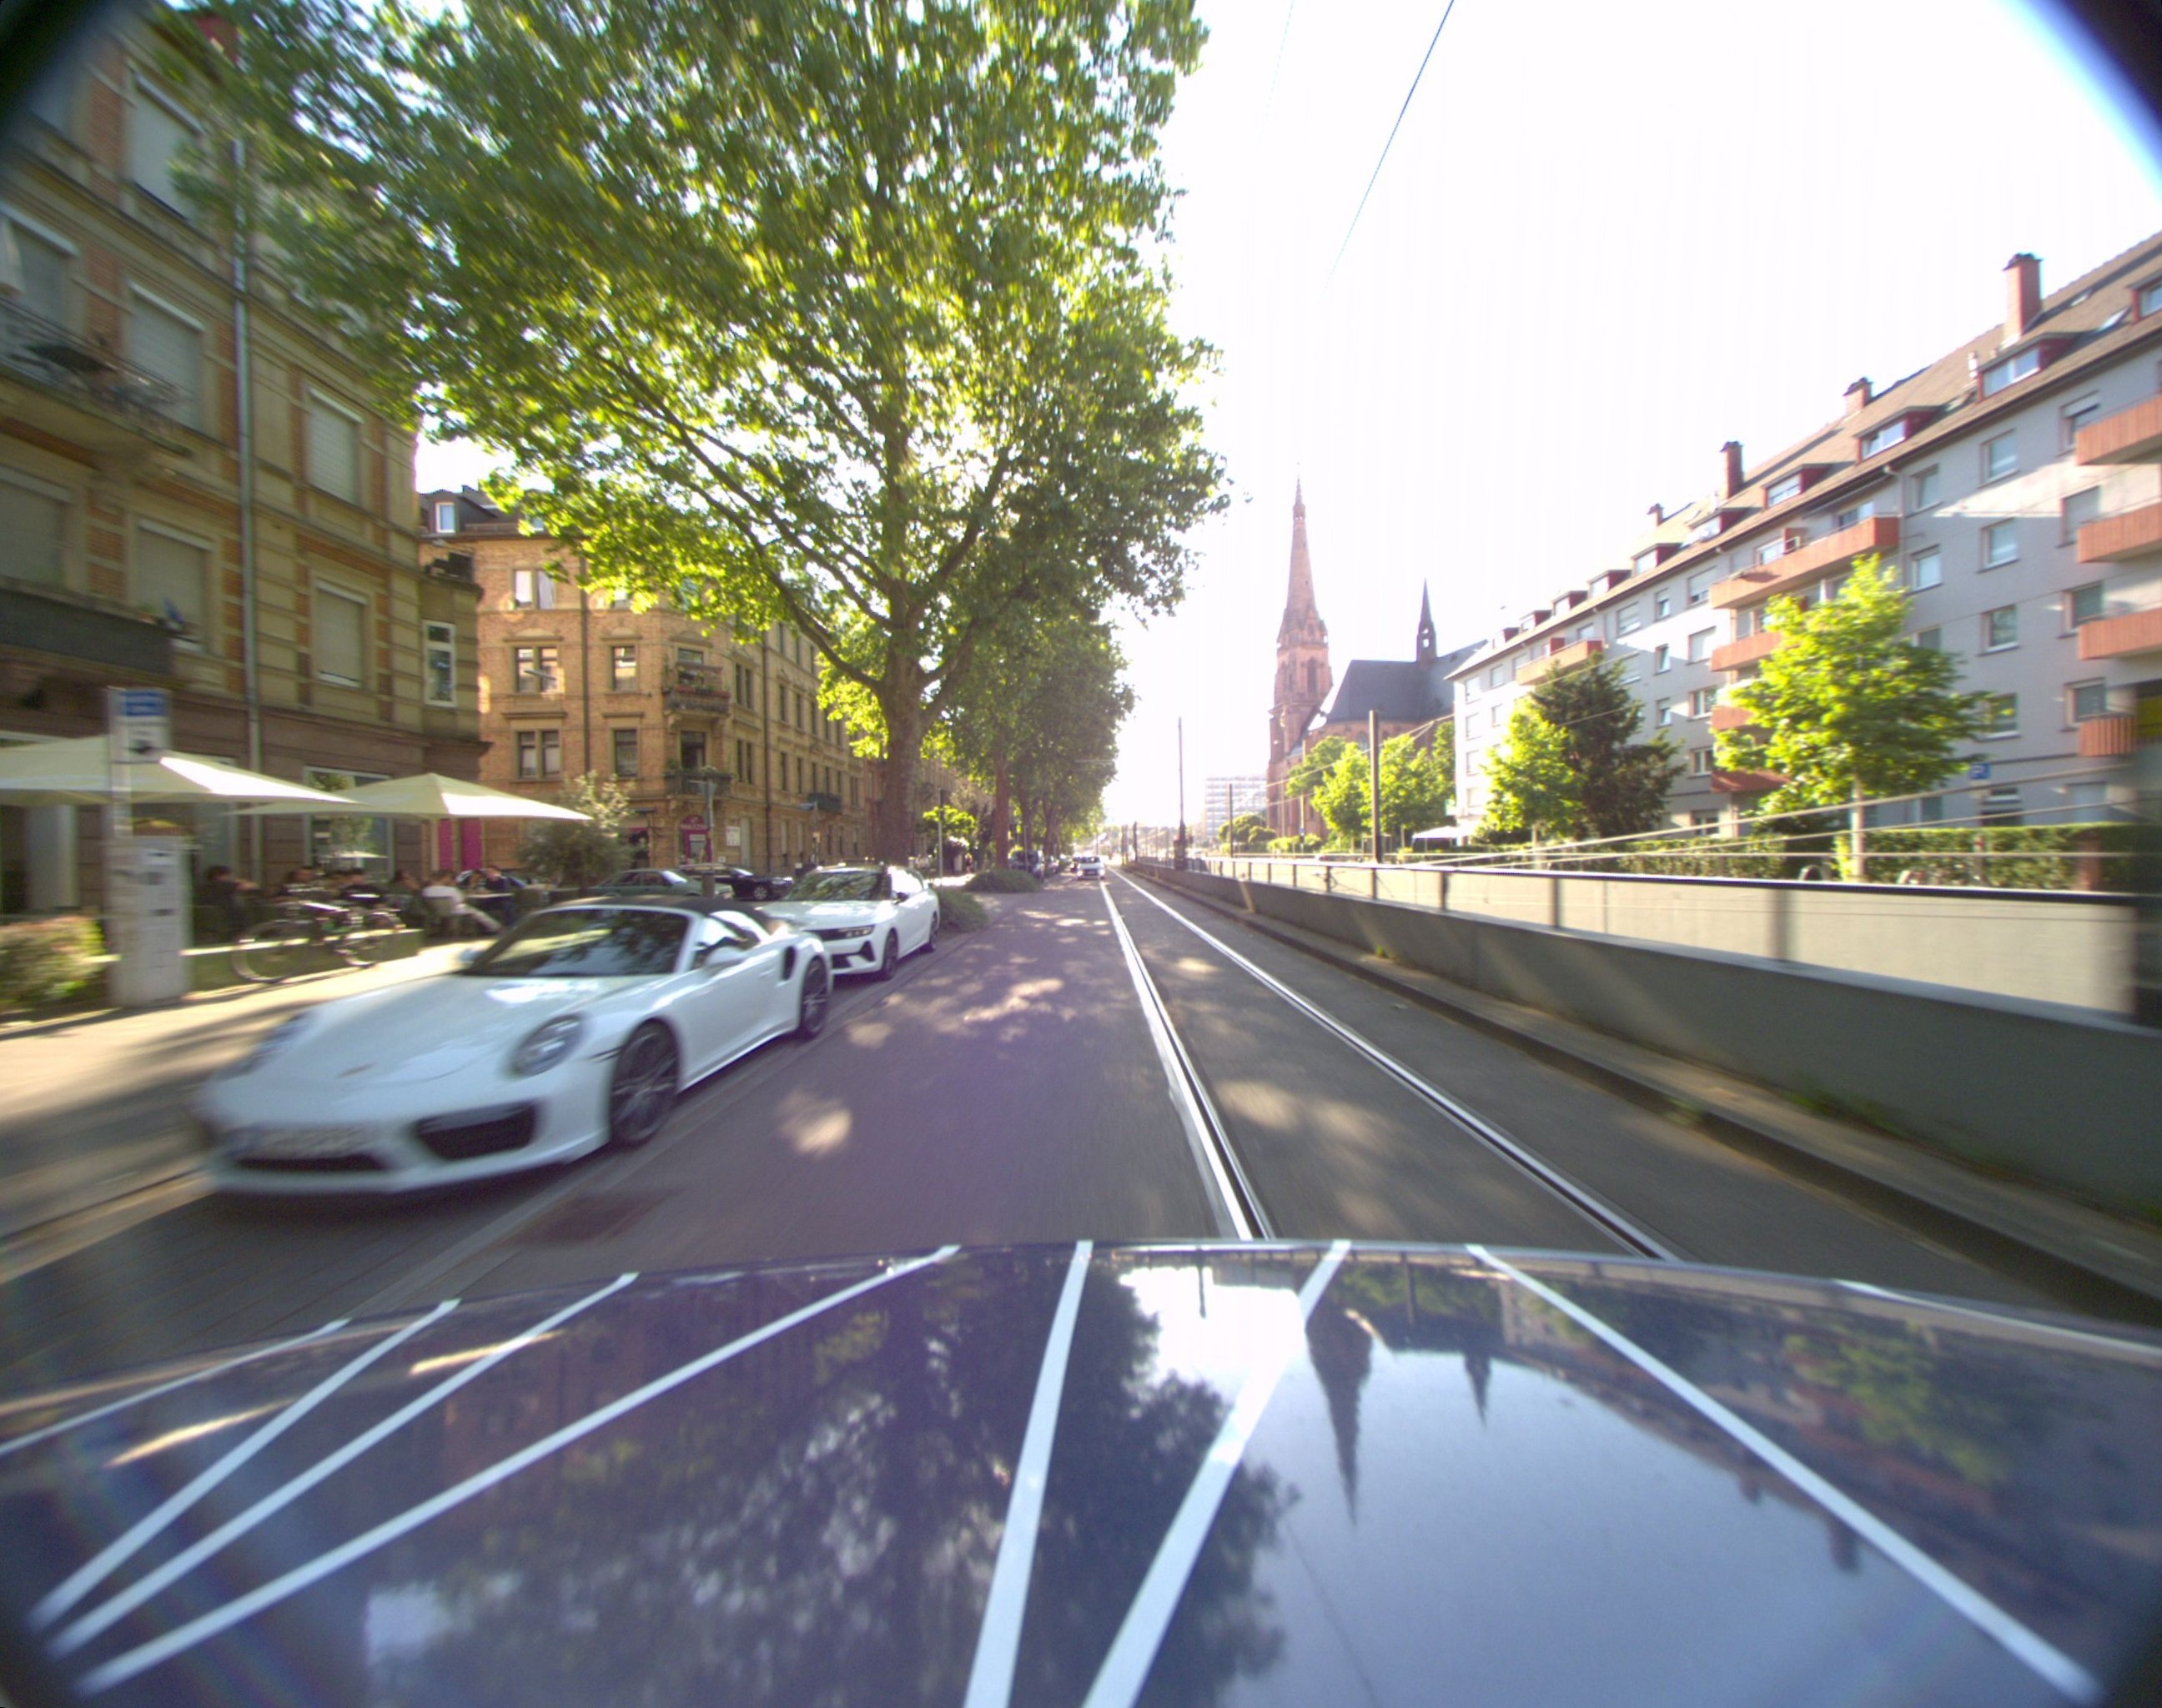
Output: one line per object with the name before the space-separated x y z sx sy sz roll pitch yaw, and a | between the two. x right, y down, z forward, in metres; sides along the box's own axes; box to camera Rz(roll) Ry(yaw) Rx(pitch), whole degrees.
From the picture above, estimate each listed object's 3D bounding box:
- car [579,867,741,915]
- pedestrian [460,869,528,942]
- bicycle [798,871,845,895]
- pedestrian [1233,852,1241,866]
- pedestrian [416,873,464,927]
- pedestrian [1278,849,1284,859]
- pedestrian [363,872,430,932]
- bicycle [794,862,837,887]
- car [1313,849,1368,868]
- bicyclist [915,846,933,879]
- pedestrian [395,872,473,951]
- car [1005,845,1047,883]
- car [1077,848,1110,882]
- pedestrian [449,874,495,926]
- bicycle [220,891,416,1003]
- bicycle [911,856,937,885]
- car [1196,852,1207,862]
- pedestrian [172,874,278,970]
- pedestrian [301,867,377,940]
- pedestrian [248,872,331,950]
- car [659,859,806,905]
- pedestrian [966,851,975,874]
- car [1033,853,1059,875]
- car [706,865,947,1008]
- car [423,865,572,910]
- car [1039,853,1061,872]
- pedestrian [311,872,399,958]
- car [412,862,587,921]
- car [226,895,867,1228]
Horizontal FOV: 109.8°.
car | -12.945 1.116 23.528 3.998 1.356 1.743 -1 -1 -2
pedestrian | -11.000 0.950 14.258 0.714 1.292 0.662 -1 1 0
bicycle | -10.375 1.160 30.414 1.696 0.911 0.602 -1 1 -11
pedestrian | 18.465 0.585 89.787 0.494 1.663 0.754 -4 1 -14
pedestrian | -13.984 0.989 16.586 0.557 1.131 0.526 -1 1 0
pedestrian | 30.013 -0.063 113.956 0.587 1.480 0.946 -4 1 -2
pedestrian | -14.019 0.974 15.577 0.714 1.165 0.662 -1 1 0
bicycle | -12.562 0.952 36.001 1.866 1.147 0.476 -1 1 4
car | 24.026 0.387 70.448 4.404 1.495 1.977 -4 0 2
bicyclist | -6.763 0.362 32.706 0.544 1.372 0.644 -5 0 -1
pedestrian | -11.050 0.967 12.991 0.714 1.292 0.662 -1 1 0
car | -3.044 0.556 42.986 1.999 2.002 5.201 0 0 -1
car | 0.779 0.634 45.984 1.823 1.729 3.998 -1 3 3
pedestrian | -13.308 0.990 16.611 0.557 1.095 0.526 -1 1 0
bicycle | -9.266 1.071 9.348 0.476 1.137 1.896 1 0 1
bicycle | -6.737 0.700 32.697 0.562 1.171 2.226 -5 0 -1
car | 24.328 0.600 153.309 1.997 2.002 5.015 1 1 10
pedestrian | -12.246 0.954 10.892 0.714 1.292 0.663 -1 1 2
pedestrian | -13.776 0.913 14.128 0.714 1.292 0.662 -1 1 0
pedestrian | -13.830 0.979 13.300 0.662 1.292 0.715 -1 1 0
car | -13.072 1.032 28.748 4.615 1.539 1.922 -2 0 -4
pedestrian | -7.943 0.594 54.764 0.531 1.618 0.618 1 0 1
car | -2.680 0.740 59.286 1.718 1.540 4.500 0 1 1
car | -3.262 0.962 10.839 1.807 1.469 4.646 -1 0 0
car | -21.917 1.244 28.672 4.130 1.539 1.743 -1 0 -4
car | -2.629 0.708 65.234 1.719 1.454 3.999 -1 1 0
pedestrian | -11.503 0.946 12.061 0.714 1.292 0.662 -1 1 1
car | -17.698 1.122 23.261 3.905 1.637 1.893 -1 0 3
car | -3.107 1.098 5.616 1.834 1.319 4.000 -1 0 1
